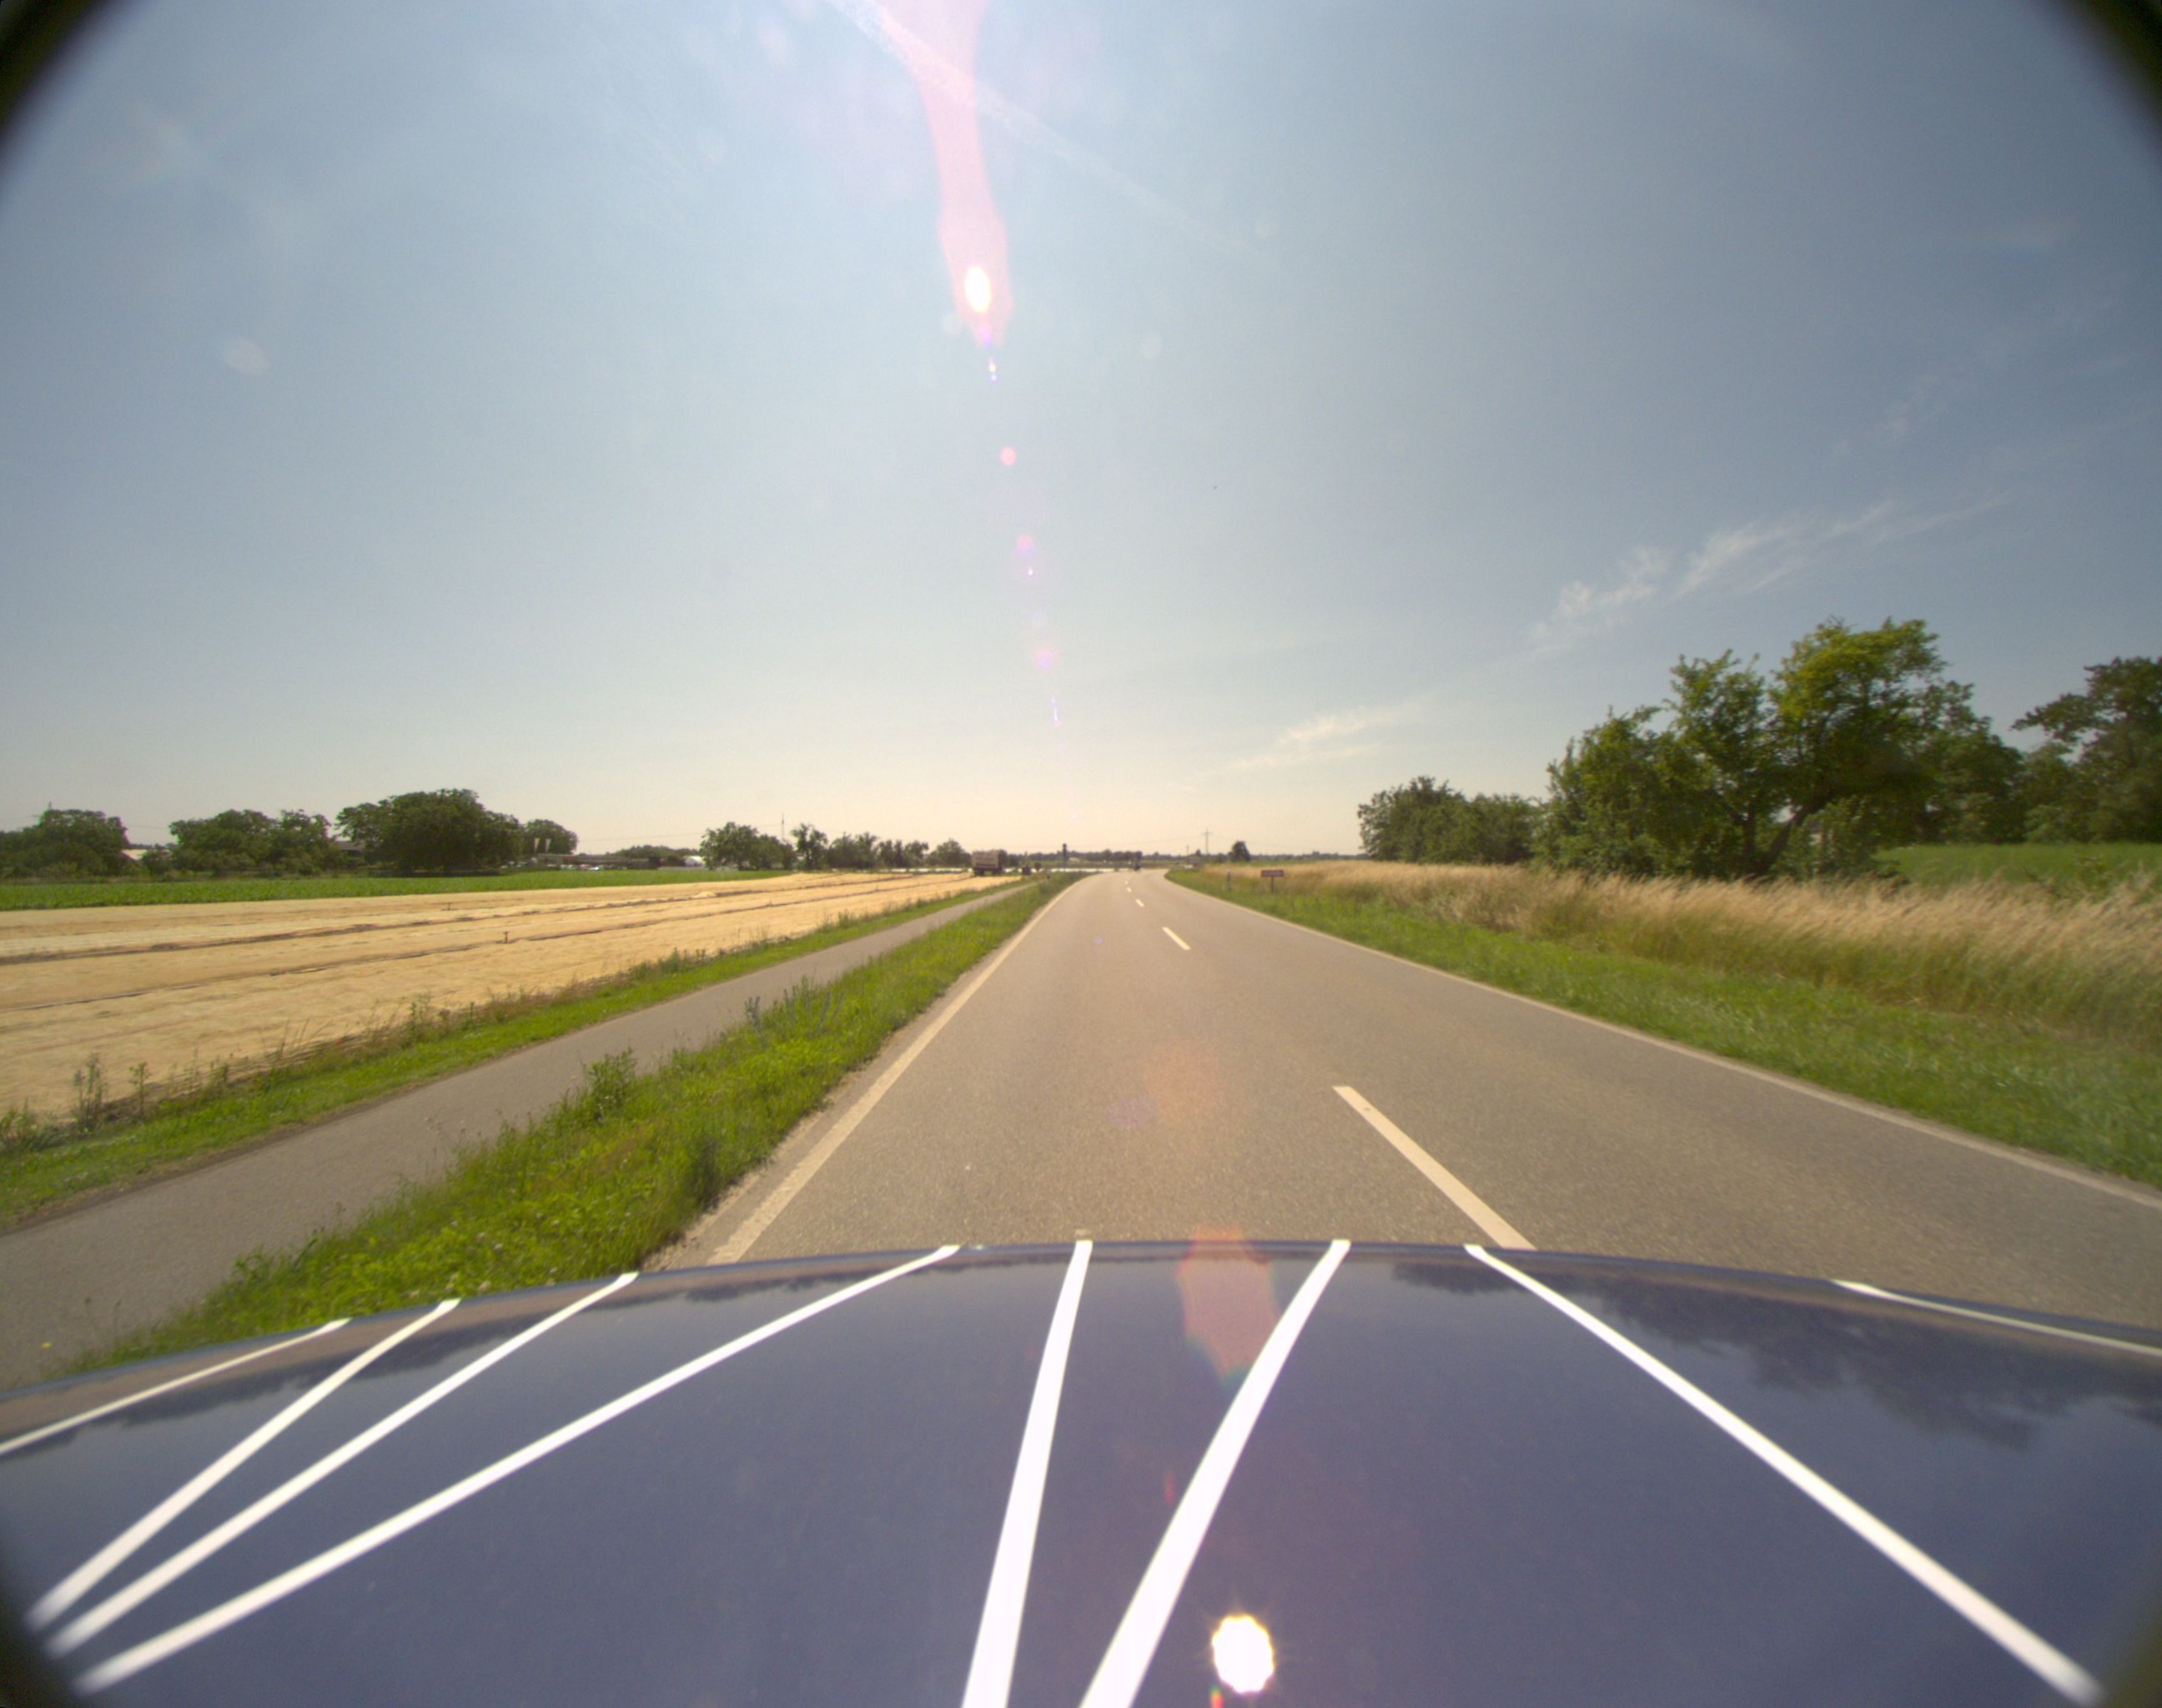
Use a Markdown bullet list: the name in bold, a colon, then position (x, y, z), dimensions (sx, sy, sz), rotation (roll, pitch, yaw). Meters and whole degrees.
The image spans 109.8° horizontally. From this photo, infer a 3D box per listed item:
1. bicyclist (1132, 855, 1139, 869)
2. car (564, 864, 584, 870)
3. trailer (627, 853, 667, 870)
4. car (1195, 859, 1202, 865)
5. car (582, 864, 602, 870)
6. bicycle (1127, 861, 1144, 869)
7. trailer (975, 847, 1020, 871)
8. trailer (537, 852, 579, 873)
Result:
- **bicyclist**: position (6.754, 0.985, 94.374), dimensions (0.700, 1.747, 0.663), rotation (-1, 1, 19)
- **car**: position (-100.581, 2.524, 150.836), dimensions (1.293, 1.190, 3.284), rotation (0, 0, 17)
- **trailer**: position (-87.000, 1.540, 152.208), dimensions (7.422, 3.274, 3.265), rotation (-1, 0, 26)
- **car**: position (36.001, 2.488, 233.245), dimensions (1.936, 1.741, 5.209), rotation (1, 0, 11)
- **car**: position (-95.278, 2.563, 148.023), dimensions (1.293, 1.190, 3.284), rotation (0, 0, 17)
- **bicycle**: position (6.780, 1.372, 94.373), dimensions (1.920, 0.986, 0.683), rotation (-1, 0, 19)
- **trailer**: position (-10.395, 0.598, 94.610), dimensions (5.283, 2.935, 2.002), rotation (0, 2, 21)
- **trailer**: position (-112.838, 1.809, 163.912), dimensions (7.428, 4.197, 3.161), rotation (-1, 1, 13)
